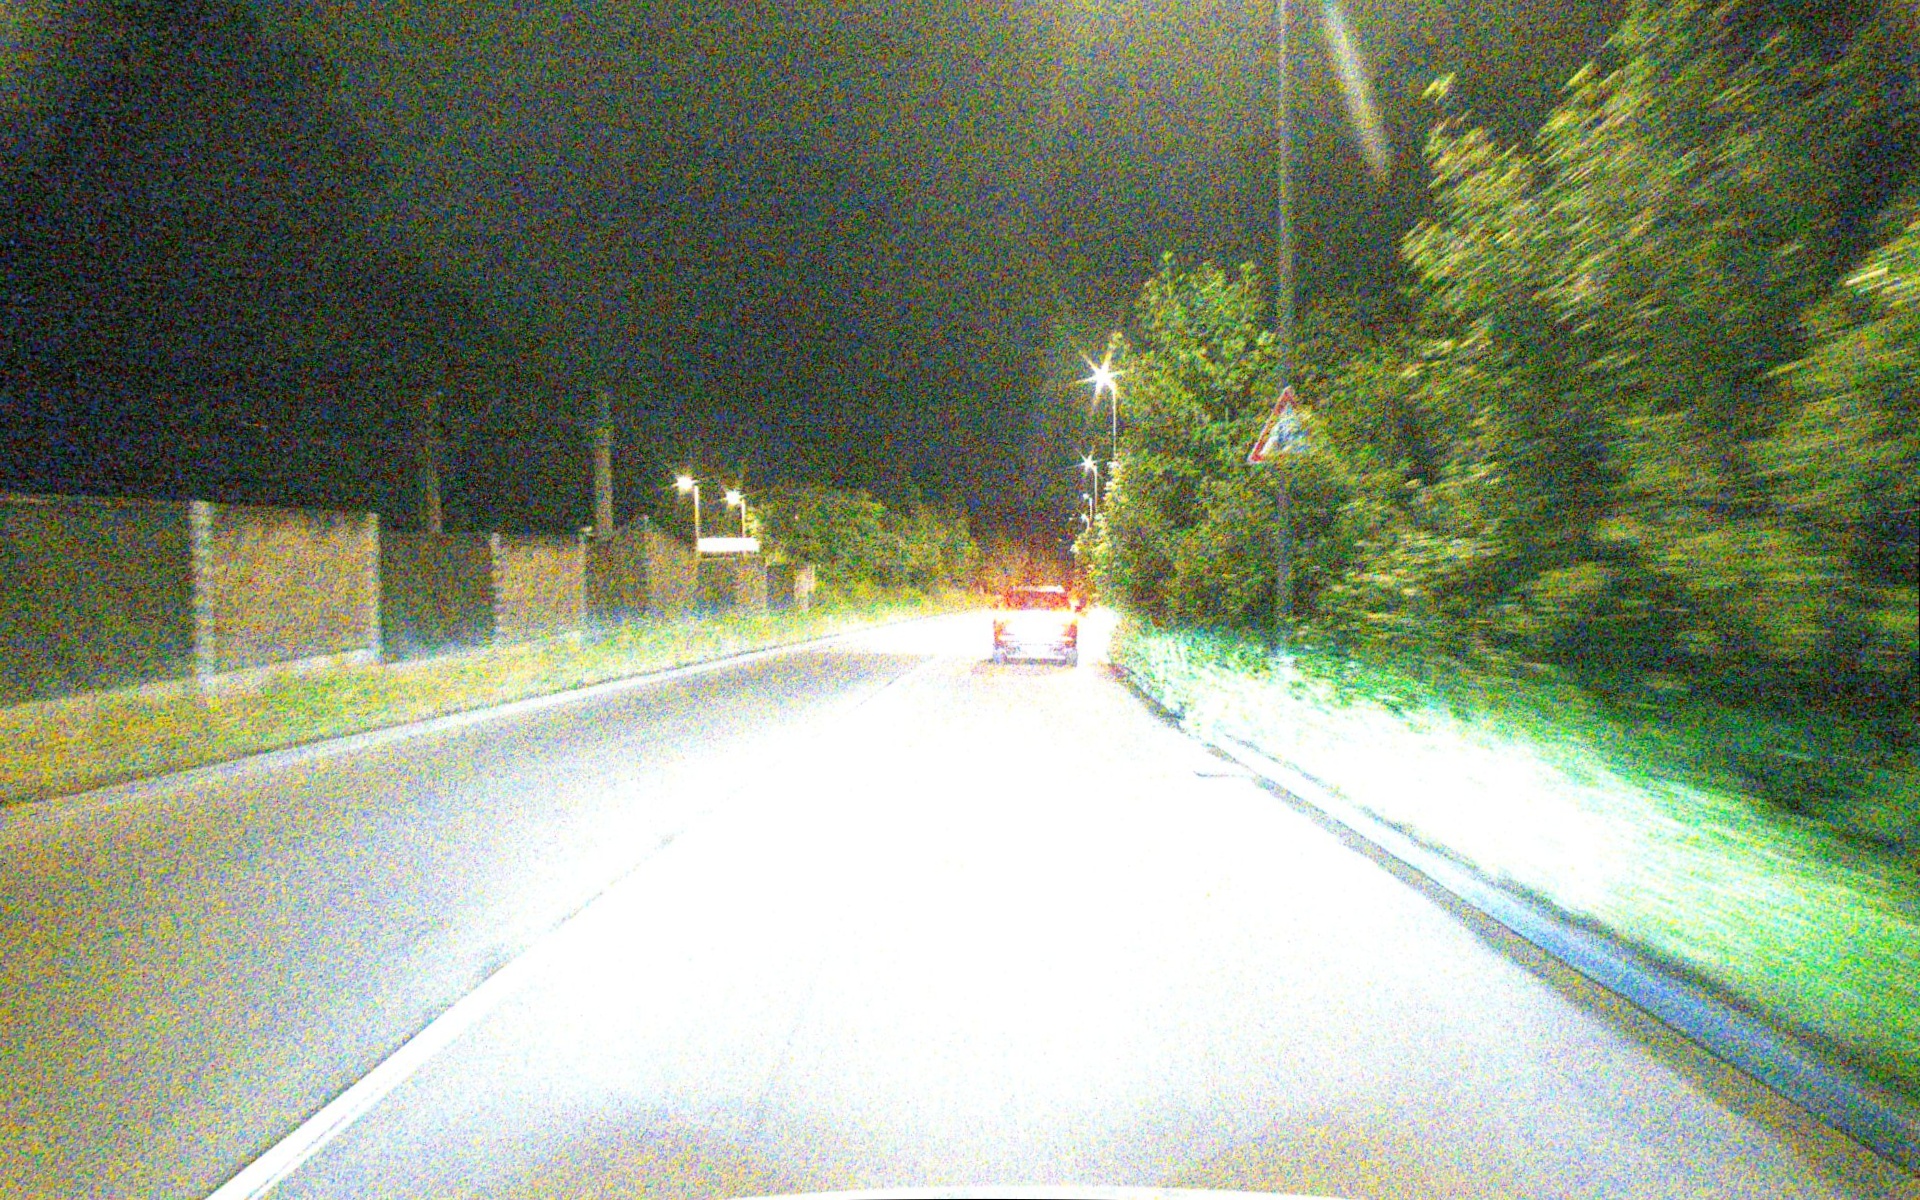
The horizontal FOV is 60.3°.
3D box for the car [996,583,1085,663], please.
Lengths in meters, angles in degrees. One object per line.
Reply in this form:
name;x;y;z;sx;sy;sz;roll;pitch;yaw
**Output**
car;1.753;0.451;35.307;1.777;1.601;3.945;1;0;4
